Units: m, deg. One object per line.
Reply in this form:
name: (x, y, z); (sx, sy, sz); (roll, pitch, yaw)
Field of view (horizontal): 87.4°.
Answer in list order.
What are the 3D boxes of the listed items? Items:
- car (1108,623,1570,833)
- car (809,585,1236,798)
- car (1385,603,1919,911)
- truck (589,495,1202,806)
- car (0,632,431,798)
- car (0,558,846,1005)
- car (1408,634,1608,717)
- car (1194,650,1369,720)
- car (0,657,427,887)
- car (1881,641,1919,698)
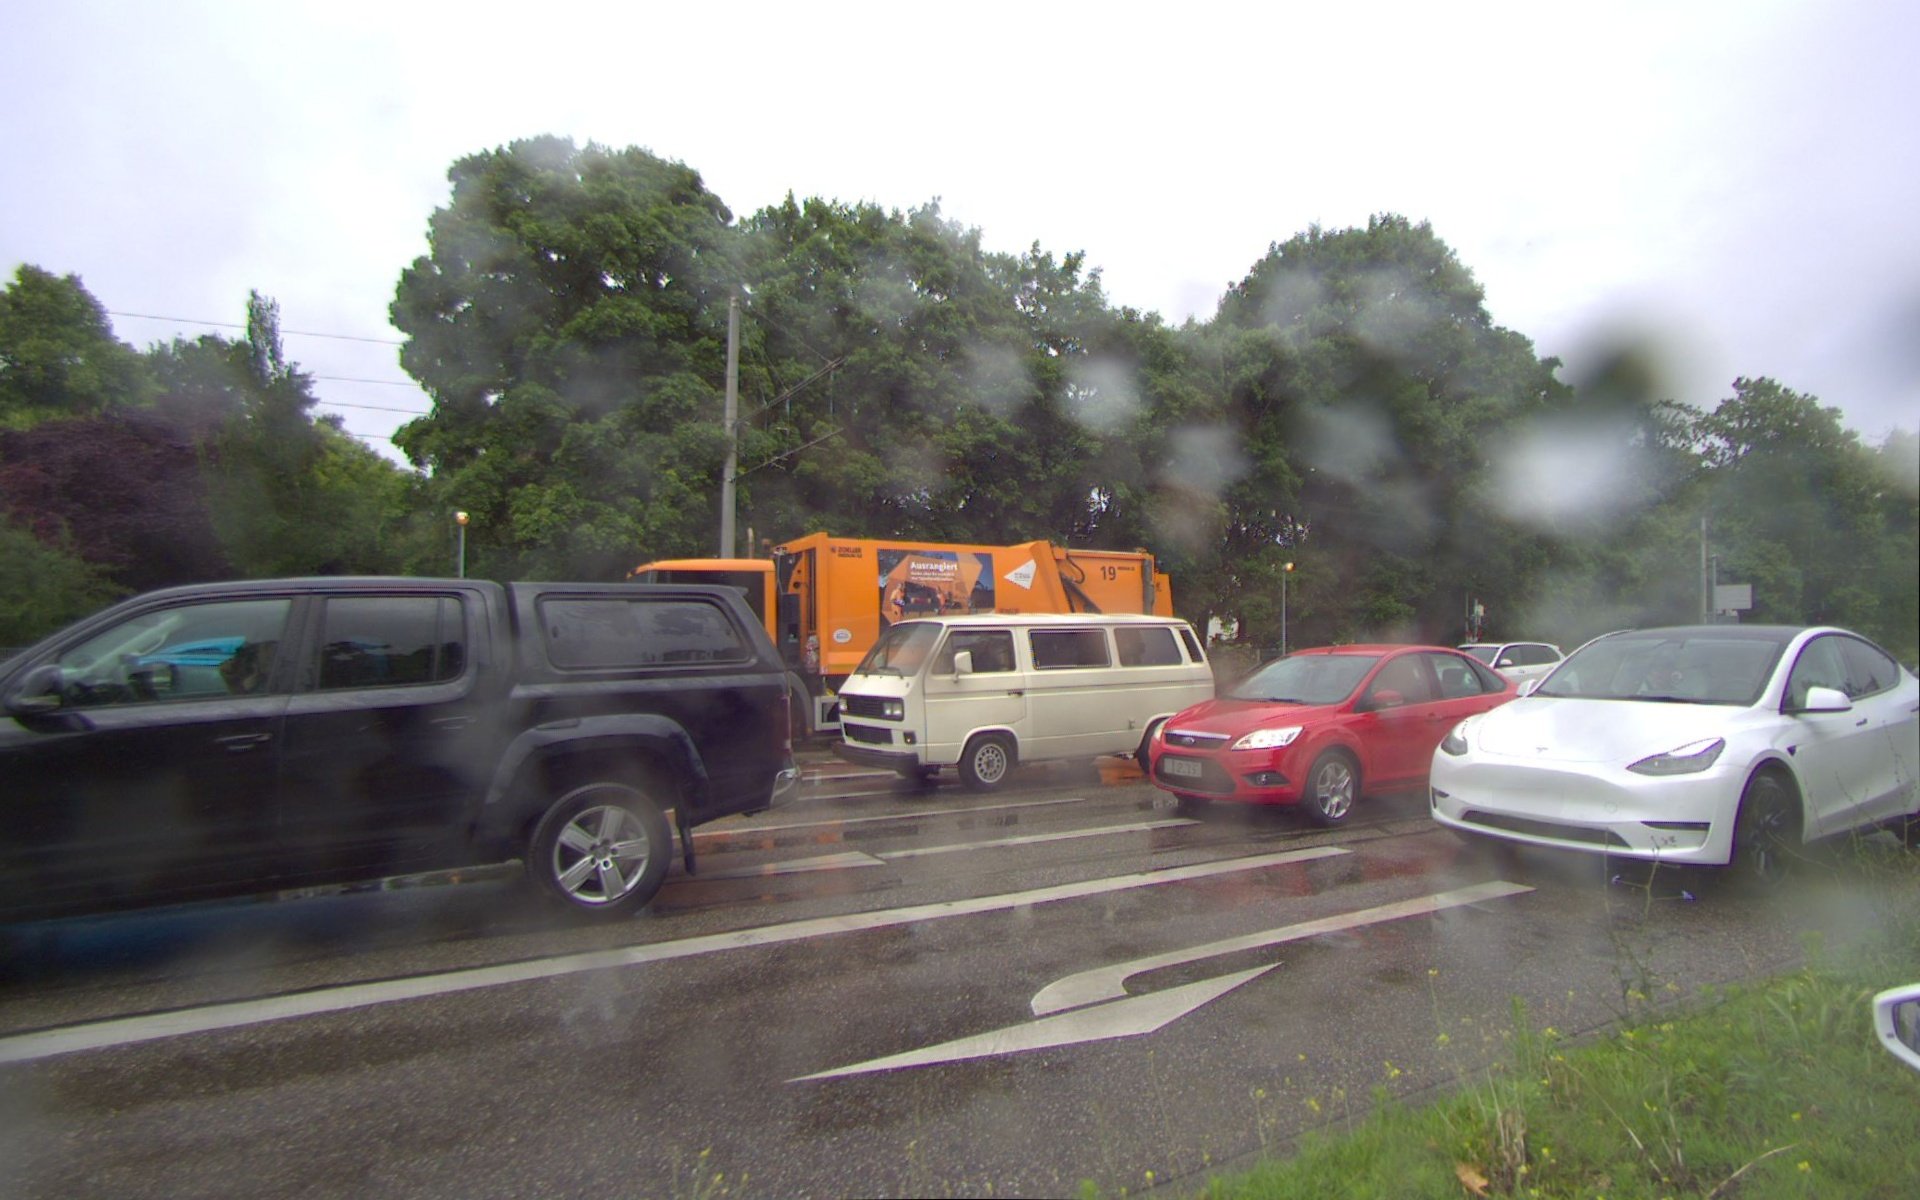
car: (3.675, 1.101, 9.556); (4.378, 1.589, 1.792); (3, -4, -31)
car: (0.787, 0.985, 11.694); (4.686, 2.044, 1.921); (1, -4, -30)
car: (5.483, 0.916, 7.409); (4.642, 1.638, 1.952); (1, -2, -30)
truck: (-0.791, 0.848, 17.690); (10.284, 4.222, 3.369); (2, -1, -30)
car: (-9.253, 1.345, 12.719); (4.472, 1.732, 1.985); (2, -1, -29)
car: (-3.280, 0.801, 5.449); (5.030, 1.796, 1.797); (2, -4, -31)
car: (13.757, 1.857, 25.202); (4.707, 1.852, 1.988); (2, -1, -25)
car: (7.012, 1.814, 21.836); (3.643, 1.396, 1.580); (2, -5, -30)
car: (-6.158, 1.145, 7.256); (3.956, 1.446, 1.632); (2, -4, -32)
car: (30.105, 2.100, 30.561); (4.276, 1.663, 1.701); (1, -4, -28)
